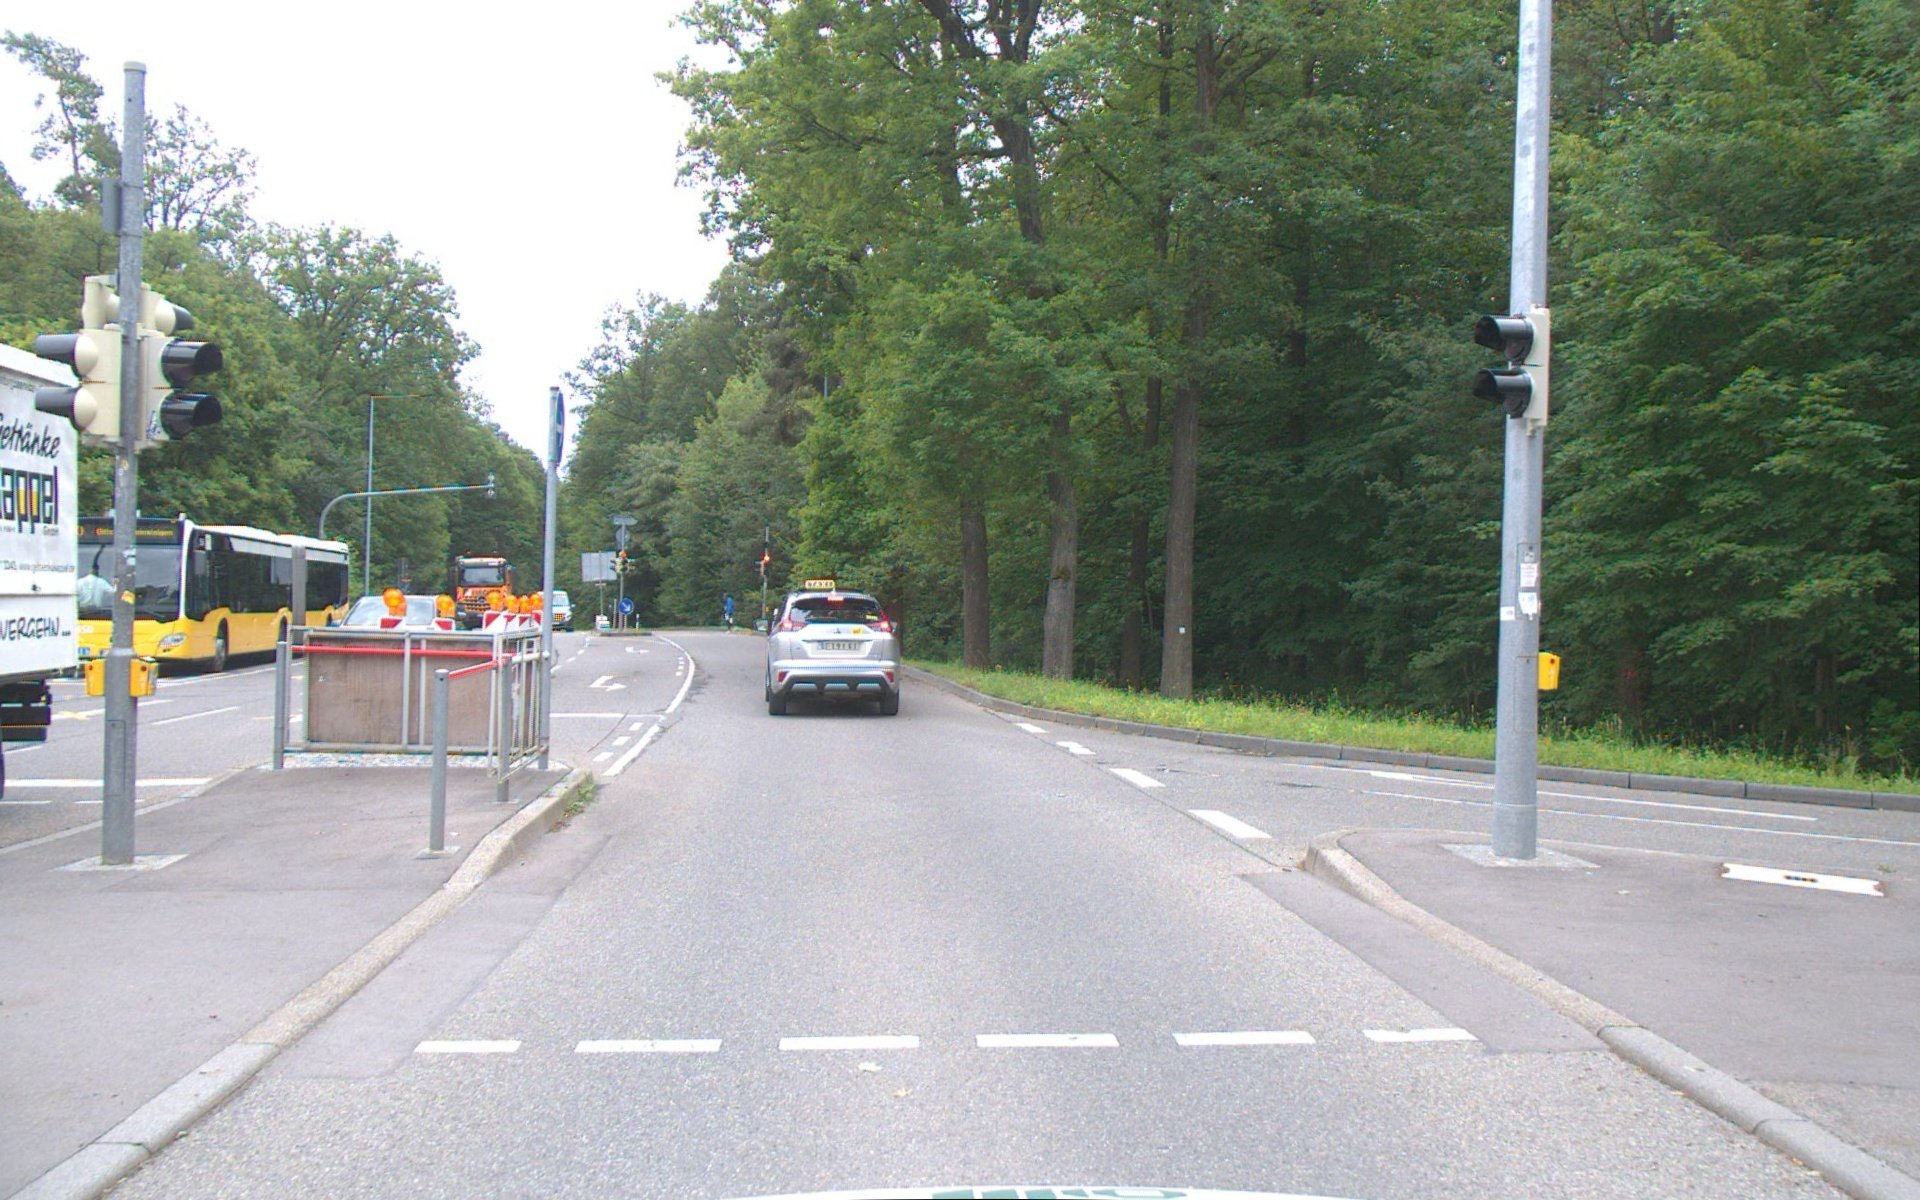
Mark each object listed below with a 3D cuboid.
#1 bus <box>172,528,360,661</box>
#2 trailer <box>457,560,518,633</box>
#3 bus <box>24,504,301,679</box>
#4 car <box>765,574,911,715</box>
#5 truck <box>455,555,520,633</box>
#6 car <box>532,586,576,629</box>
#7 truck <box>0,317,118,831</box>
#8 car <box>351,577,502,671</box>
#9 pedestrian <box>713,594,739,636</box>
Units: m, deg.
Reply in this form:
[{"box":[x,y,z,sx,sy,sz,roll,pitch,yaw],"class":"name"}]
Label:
[{"box":[-18.379,-0.112,44.440,2.847,3.182,8.670,1,0,-11],"class":"bus"},{"box":[-23.394,-0.090,81.851,2.695,3.376,8.530,-1,-1,-16],"class":"trailer"},{"box":[-16.637,-0.132,35.399,2.847,3.182,9.733,1,0,-11],"class":"bus"},{"box":[-1.641,0.568,23.396,1.809,1.811,3.999,0,0,-1],"class":"car"},{"box":[-21.716,-0.209,76.004,2.695,3.376,7.127,-1,-1,-16],"class":"truck"},{"box":[-19.477,0.376,79.266,1.960,1.927,4.819,-1,-1,-15],"class":"car"},{"box":[-7.328,-0.167,9.170,2.577,3.295,6.199,0,0,-5],"class":"truck"},{"box":[-9.345,0.418,29.300,1.774,1.535,4.300,0,-1,-7],"class":"car"},{"box":[-9.589,0.597,67.752,1.027,1.678,1.067,0,0,-8],"class":"pedestrian"}]
